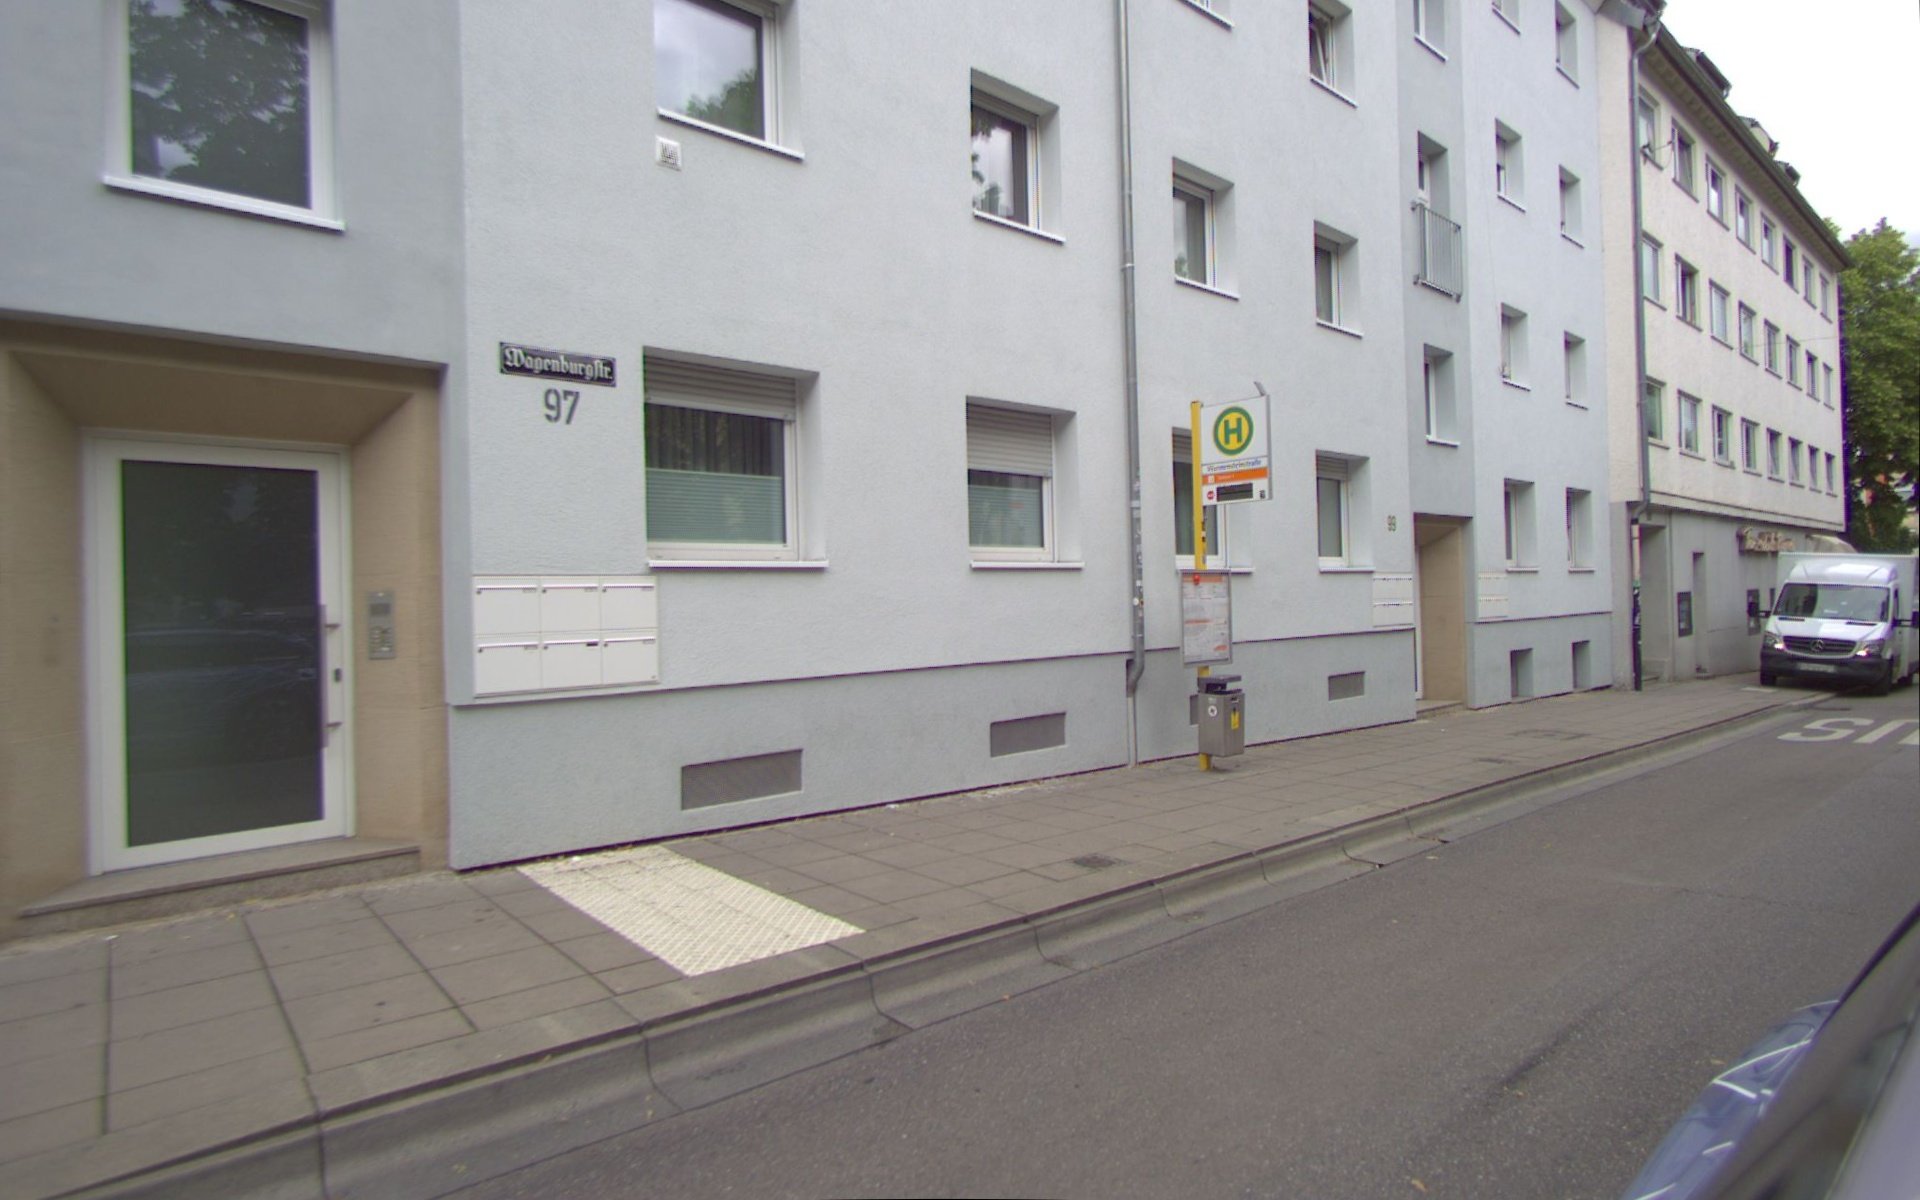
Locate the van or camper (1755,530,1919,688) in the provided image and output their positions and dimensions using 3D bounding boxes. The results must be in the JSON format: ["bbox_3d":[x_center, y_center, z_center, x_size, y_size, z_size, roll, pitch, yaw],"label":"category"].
[{"bbox_3d":[19.067,0.153,21.411,7.115,2.838,2.483,0,0,-43],"label":"van or camper"}]

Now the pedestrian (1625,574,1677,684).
[{"bbox_3d":[13.162,0.539,19.278,0.674,2.039,0.635,0,-1,-40],"label":"pedestrian"}]
